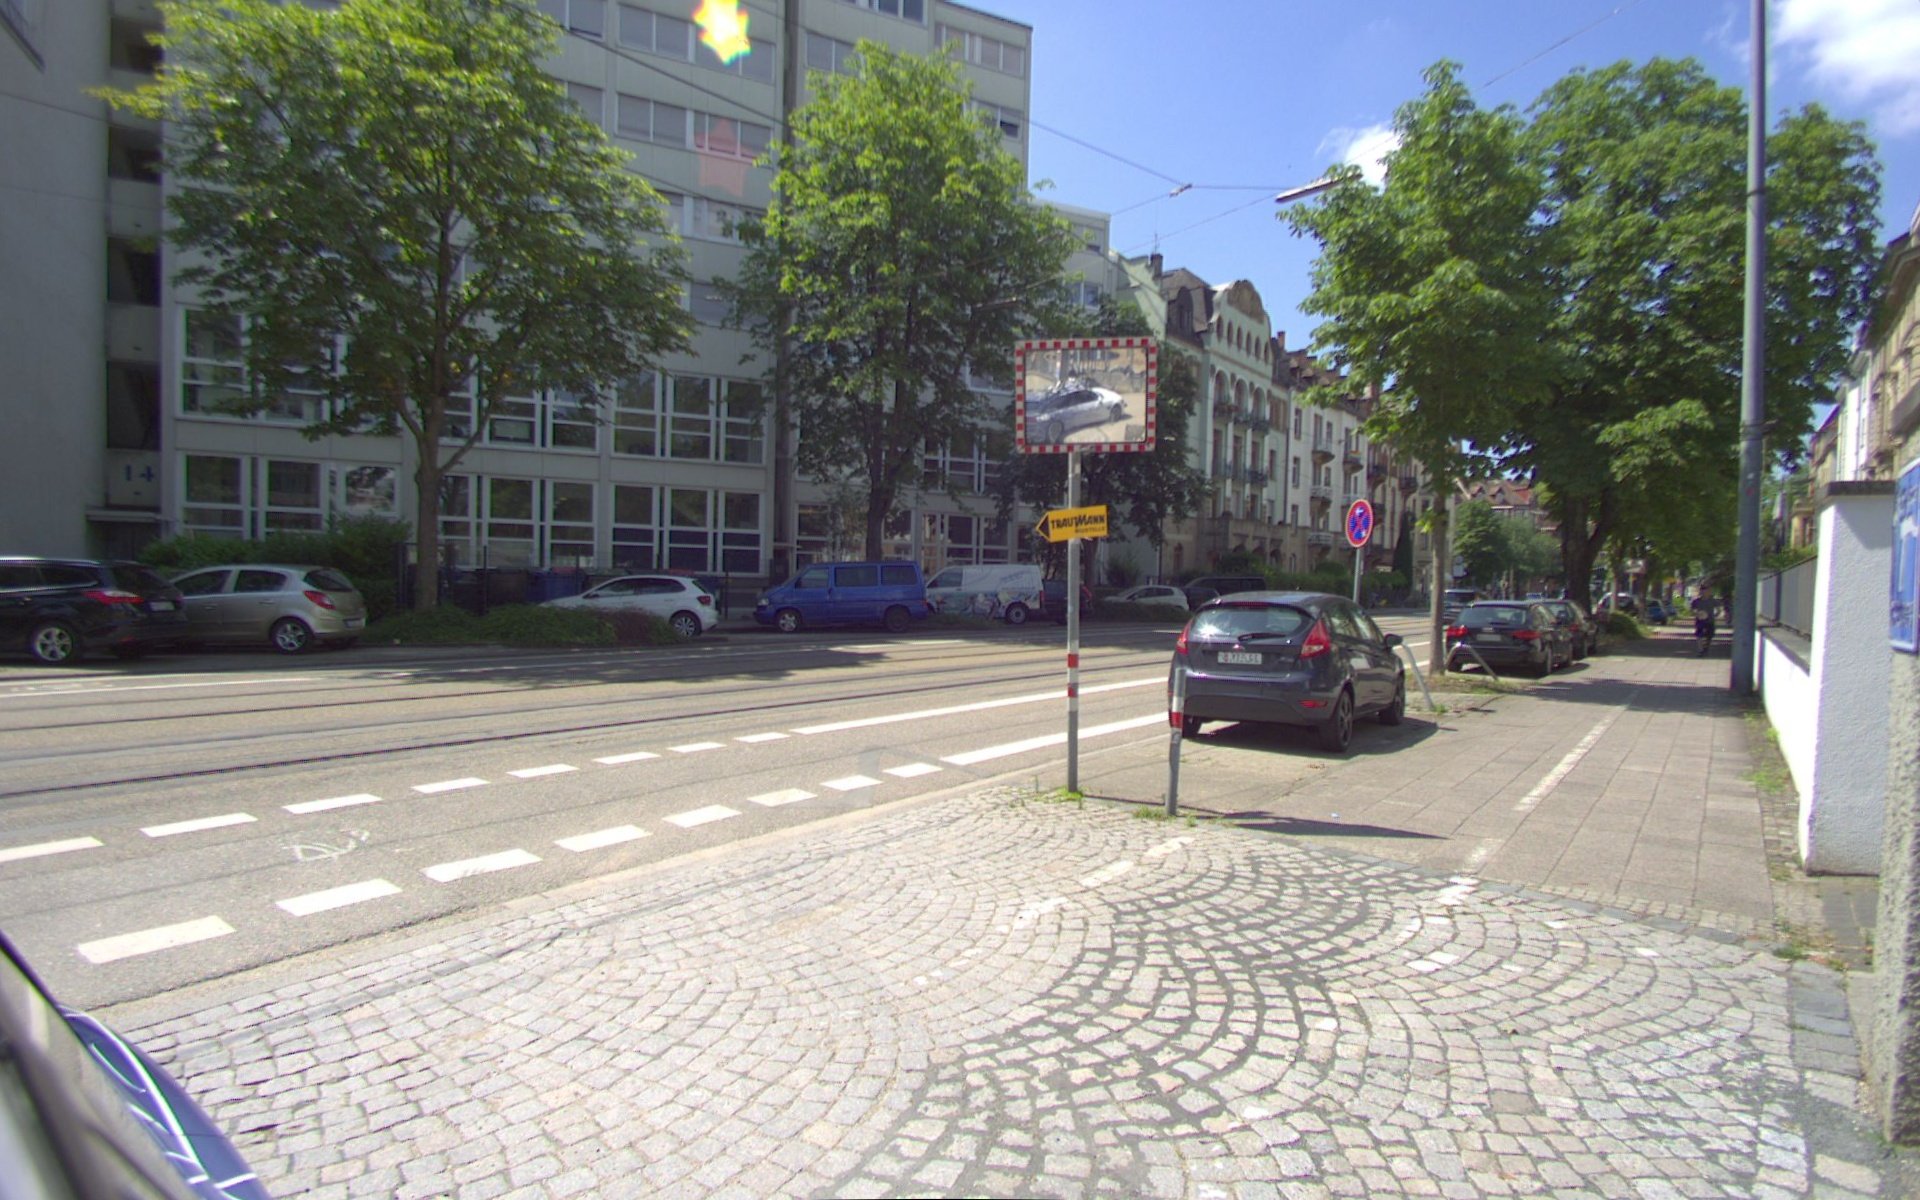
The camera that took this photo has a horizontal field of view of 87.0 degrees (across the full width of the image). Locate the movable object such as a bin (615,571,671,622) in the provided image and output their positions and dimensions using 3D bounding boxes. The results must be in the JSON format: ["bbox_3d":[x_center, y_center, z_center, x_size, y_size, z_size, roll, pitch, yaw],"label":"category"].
[{"bbox_3d":[-9.066,-0.106,28.954,1.164,1.409,1.038,0,1,-44],"label":"movable object such as a bin"}]

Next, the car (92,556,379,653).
[{"bbox_3d":[-11.930,0.065,16.891,3.483,1.473,1.758,1,1,-9],"label":"car"}]

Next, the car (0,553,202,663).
[{"bbox_3d":[-13.637,0.079,14.485,4.130,1.481,1.758,1,1,-9],"label":"car"}]

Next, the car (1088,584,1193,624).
[{"bbox_3d":[7.656,0.158,43.078,3.936,1.397,1.755,3,2,-9],"label":"car"}]

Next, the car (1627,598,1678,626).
[{"bbox_3d":[39.658,0.658,57.908,1.813,1.490,3.943,1,1,43],"label":"car"}]

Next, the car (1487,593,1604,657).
[{"bbox_3d":[14.748,0.576,25.410,1.951,1.454,3.723,1,1,39],"label":"car"}]

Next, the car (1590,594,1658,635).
[{"bbox_3d":[28.172,0.582,42.901,1.730,1.626,3.942,1,1,44],"label":"car"}]

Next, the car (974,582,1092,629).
[{"bbox_3d":[2.501,0.183,35.094,3.948,1.497,1.669,1,1,4],"label":"car"}]

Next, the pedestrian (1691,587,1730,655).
[{"bbox_3d":[18.041,0.489,24.347,0.696,1.579,0.735,2,1,36],"label":"pedestrian"}]

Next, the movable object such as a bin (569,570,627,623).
[{"bbox_3d":[-9.973,-0.105,27.888,1.164,1.409,1.038,0,1,-44],"label":"movable object such as a bin"}]

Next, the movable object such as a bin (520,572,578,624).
[{"bbox_3d":[-10.802,-0.066,26.613,0.970,1.340,1.063,1,1,39],"label":"movable object such as a bin"}]

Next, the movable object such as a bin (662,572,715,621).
[{"bbox_3d":[-8.083,-0.107,30.101,1.164,1.409,1.038,0,1,-44],"label":"movable object such as a bin"}]

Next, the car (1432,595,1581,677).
[{"bbox_3d":[11.010,0.639,20.258,1.883,1.429,4.096,1,1,39],"label":"car"}]

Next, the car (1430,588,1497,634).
[{"bbox_3d":[19.805,0.437,39.717,1.604,1.664,3.950,3,1,37],"label":"car"}]

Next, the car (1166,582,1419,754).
[{"bbox_3d":[3.621,0.593,10.614,1.585,1.468,3.683,-1,-1,34],"label":"car"}]

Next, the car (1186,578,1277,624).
[{"bbox_3d":[12.872,0.013,47.998,3.971,2.029,1.986,1,1,21],"label":"car"}]

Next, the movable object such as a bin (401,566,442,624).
[{"bbox_3d":[-13.448,-0.118,25.268,0.791,1.416,0.769,0,1,-39],"label":"movable object such as a bin"}]

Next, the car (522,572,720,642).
[{"bbox_3d":[-7.364,0.147,22.313,3.917,1.424,1.718,1,1,-9],"label":"car"}]

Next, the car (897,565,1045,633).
[{"bbox_3d":[0.330,-0.038,32.372,4.566,2.029,2.000,1,1,0],"label":"car"}]

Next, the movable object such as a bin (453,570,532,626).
[{"bbox_3d":[-11.699,-0.063,25.340,1.125,1.340,1.433,1,1,39],"label":"movable object such as a bin"}]

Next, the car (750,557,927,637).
[{"bbox_3d":[-3.289,-0.077,27.480,4.557,2.029,2.004,1,1,-8],"label":"car"}]

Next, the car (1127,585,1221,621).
[{"bbox_3d":[9.803,0.109,46.308,3.971,1.519,1.935,1,1,21],"label":"car"}]
